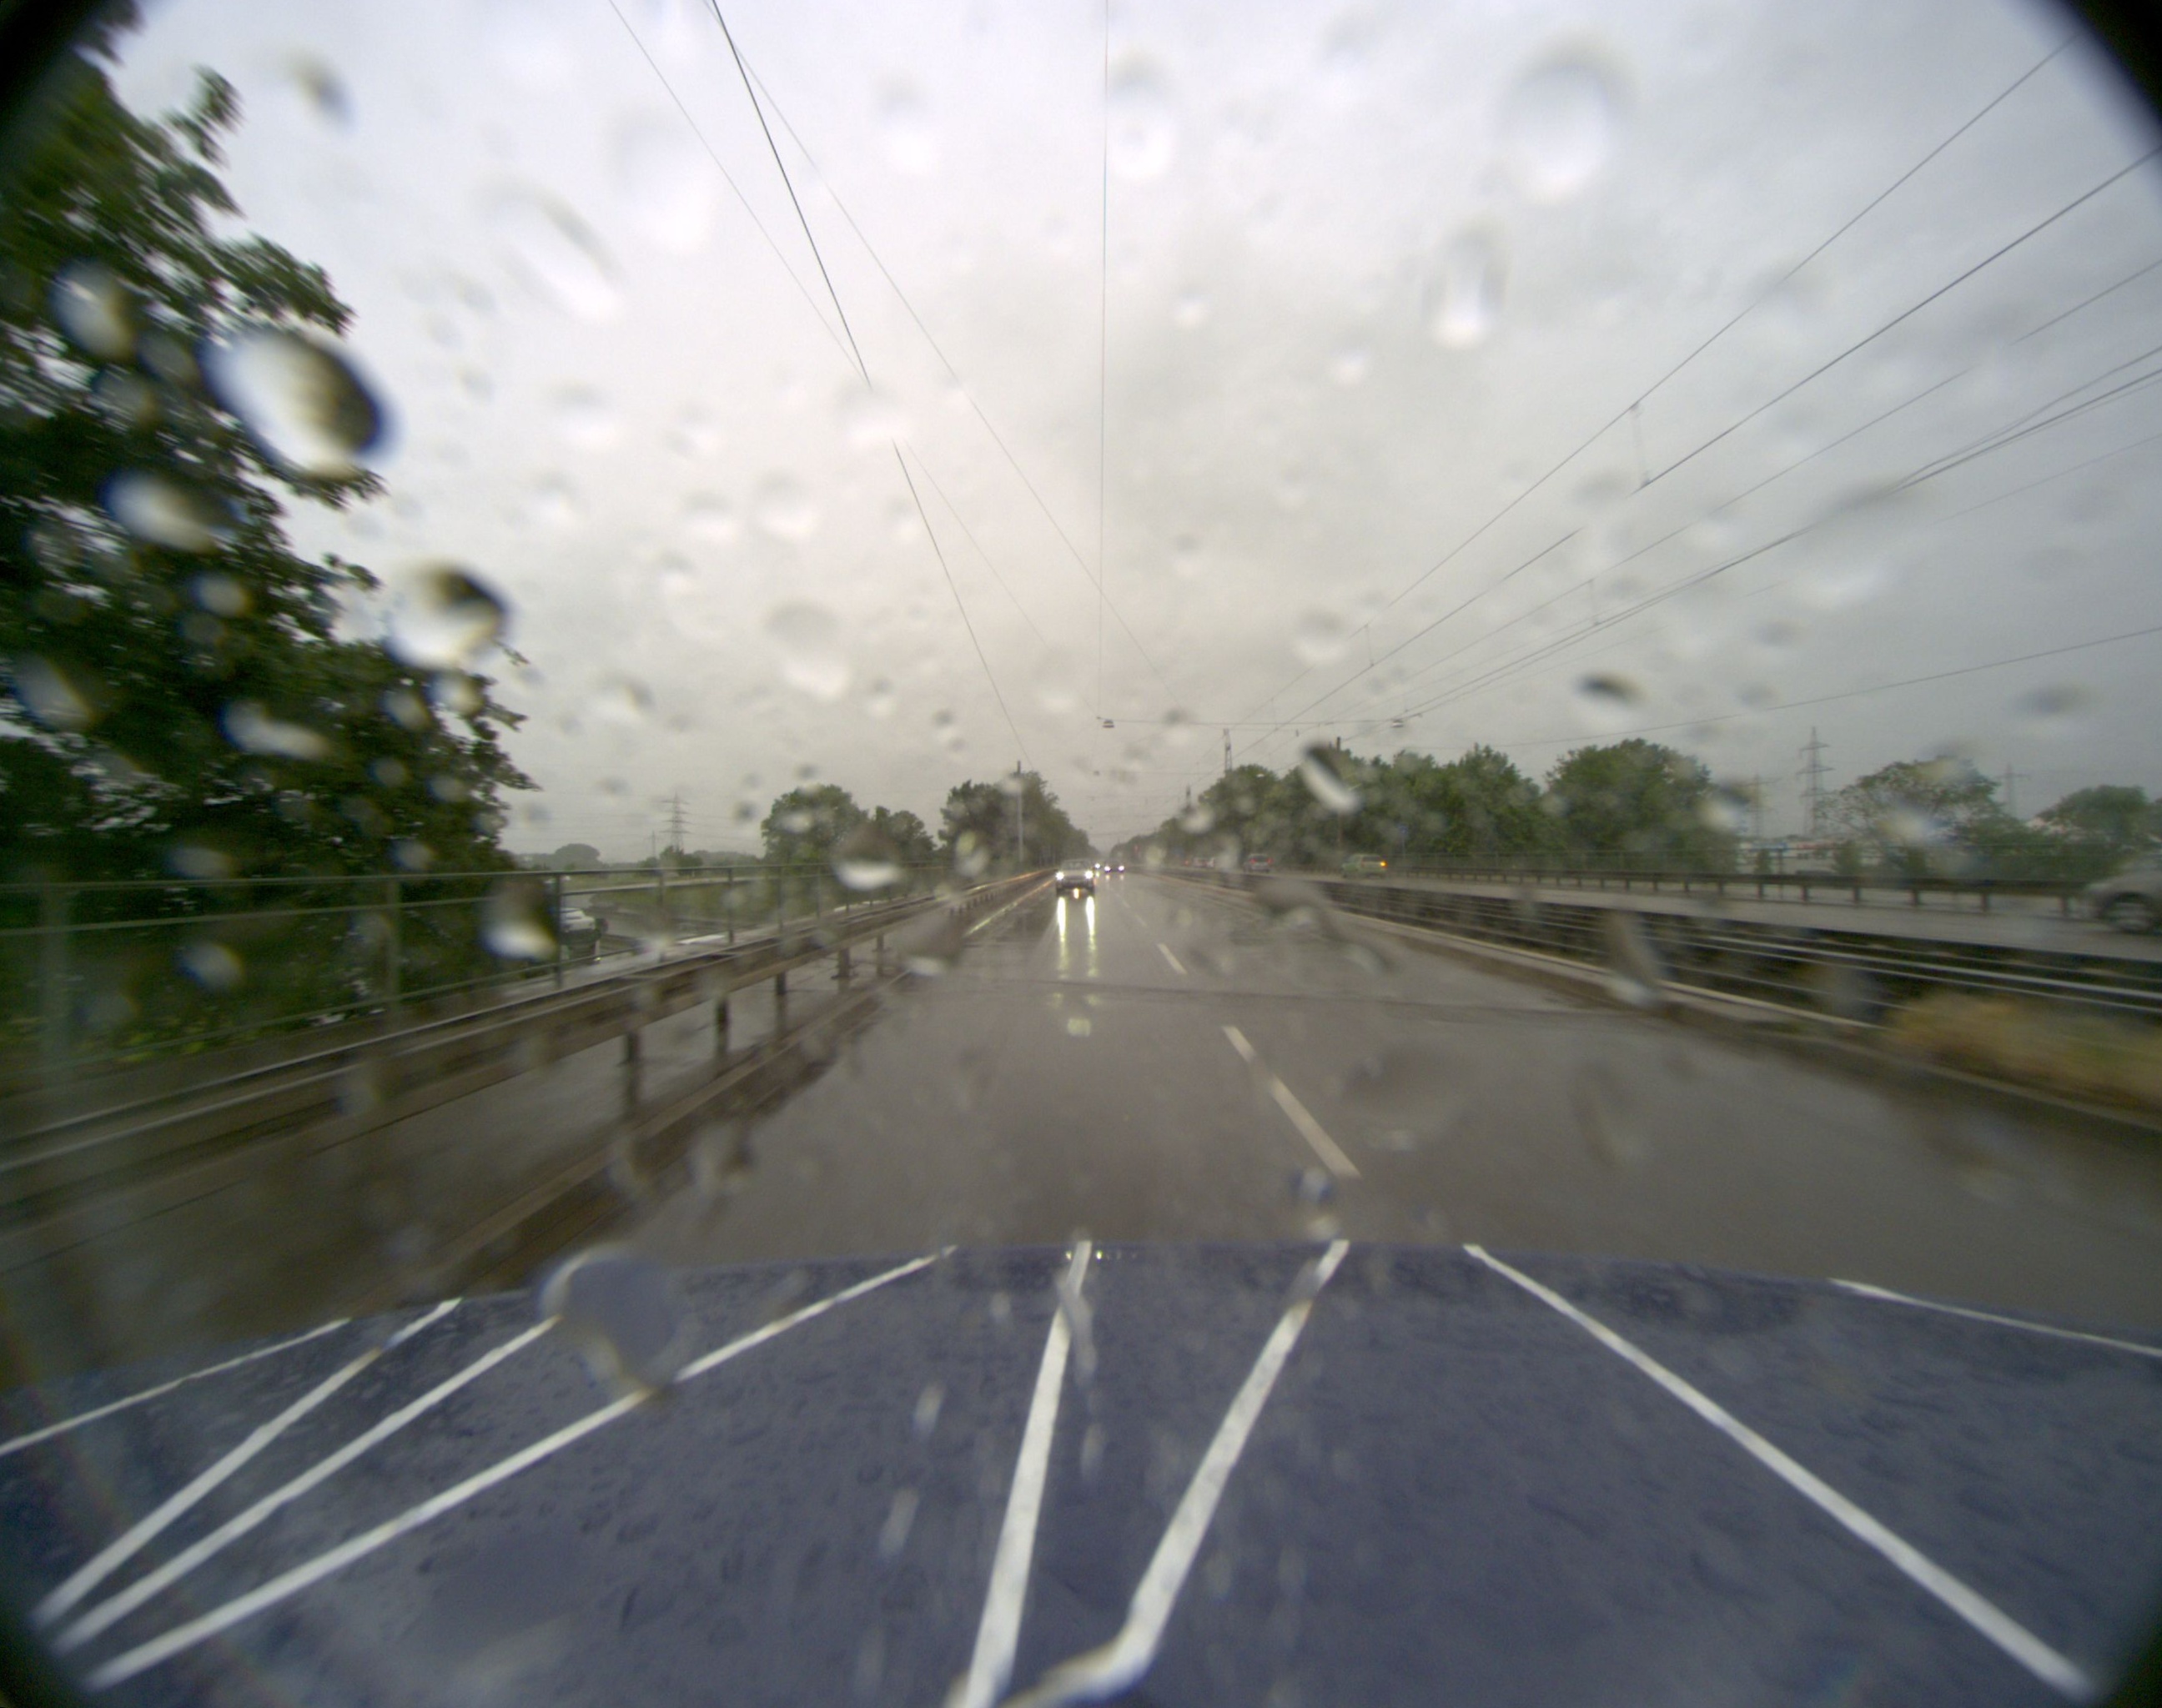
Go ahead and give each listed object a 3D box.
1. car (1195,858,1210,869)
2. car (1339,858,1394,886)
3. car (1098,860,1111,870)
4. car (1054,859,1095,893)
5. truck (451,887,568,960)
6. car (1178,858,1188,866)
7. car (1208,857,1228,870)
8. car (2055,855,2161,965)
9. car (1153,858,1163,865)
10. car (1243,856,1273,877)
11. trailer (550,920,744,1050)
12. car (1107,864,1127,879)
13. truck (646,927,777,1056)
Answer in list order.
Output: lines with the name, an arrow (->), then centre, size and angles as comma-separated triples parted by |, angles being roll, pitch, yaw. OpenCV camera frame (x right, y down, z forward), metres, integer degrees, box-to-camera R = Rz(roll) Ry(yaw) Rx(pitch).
car -> 20.713, 1.661, 129.924 | 1.837, 1.701, 4.661 | -4, 0, 1
car -> 17.061, 1.039, 45.643 | 1.851, 1.585, 4.000 | -1, 0, 1
car -> 3.506, 1.692, 114.829 | 1.971, 1.412, 4.000 | 0, 0, 1
car -> -0.265, 0.960, 34.626 | 1.751, 1.412, 4.000 | 0, 0, 1
truck -> -43.617, 5.038, 57.767 | 12.344, 4.419, 3.149 | 1, 3, 34
car -> 21.928, 1.758, 163.629 | 1.777, 1.620, 3.672 | -4, 0, 5
car -> 17.684, 1.172, 98.244 | 1.998, 1.608, 4.000 | 0, 0, 1
car -> 16.568, 0.802, 10.015 | 1.845, 1.564, 4.385 | -1, 0, 1
car -> 17.398, 1.672, 171.836 | 1.777, 1.620, 3.671 | -4, 0, 1
car -> 16.900, 1.191, 72.676 | 1.853, 1.821, 4.394 | -4, 0, 1
trailer -> -23.537, 6.564, 40.641 | 13.804, 4.921, 3.149 | 1, 2, 34
car -> 3.728, 1.831, 79.684 | 1.971, 1.412, 4.000 | 0, 0, 1
truck -> -17.993, 6.451, 36.977 | 5.788, 5.086, 3.149 | 1, 3, 34
